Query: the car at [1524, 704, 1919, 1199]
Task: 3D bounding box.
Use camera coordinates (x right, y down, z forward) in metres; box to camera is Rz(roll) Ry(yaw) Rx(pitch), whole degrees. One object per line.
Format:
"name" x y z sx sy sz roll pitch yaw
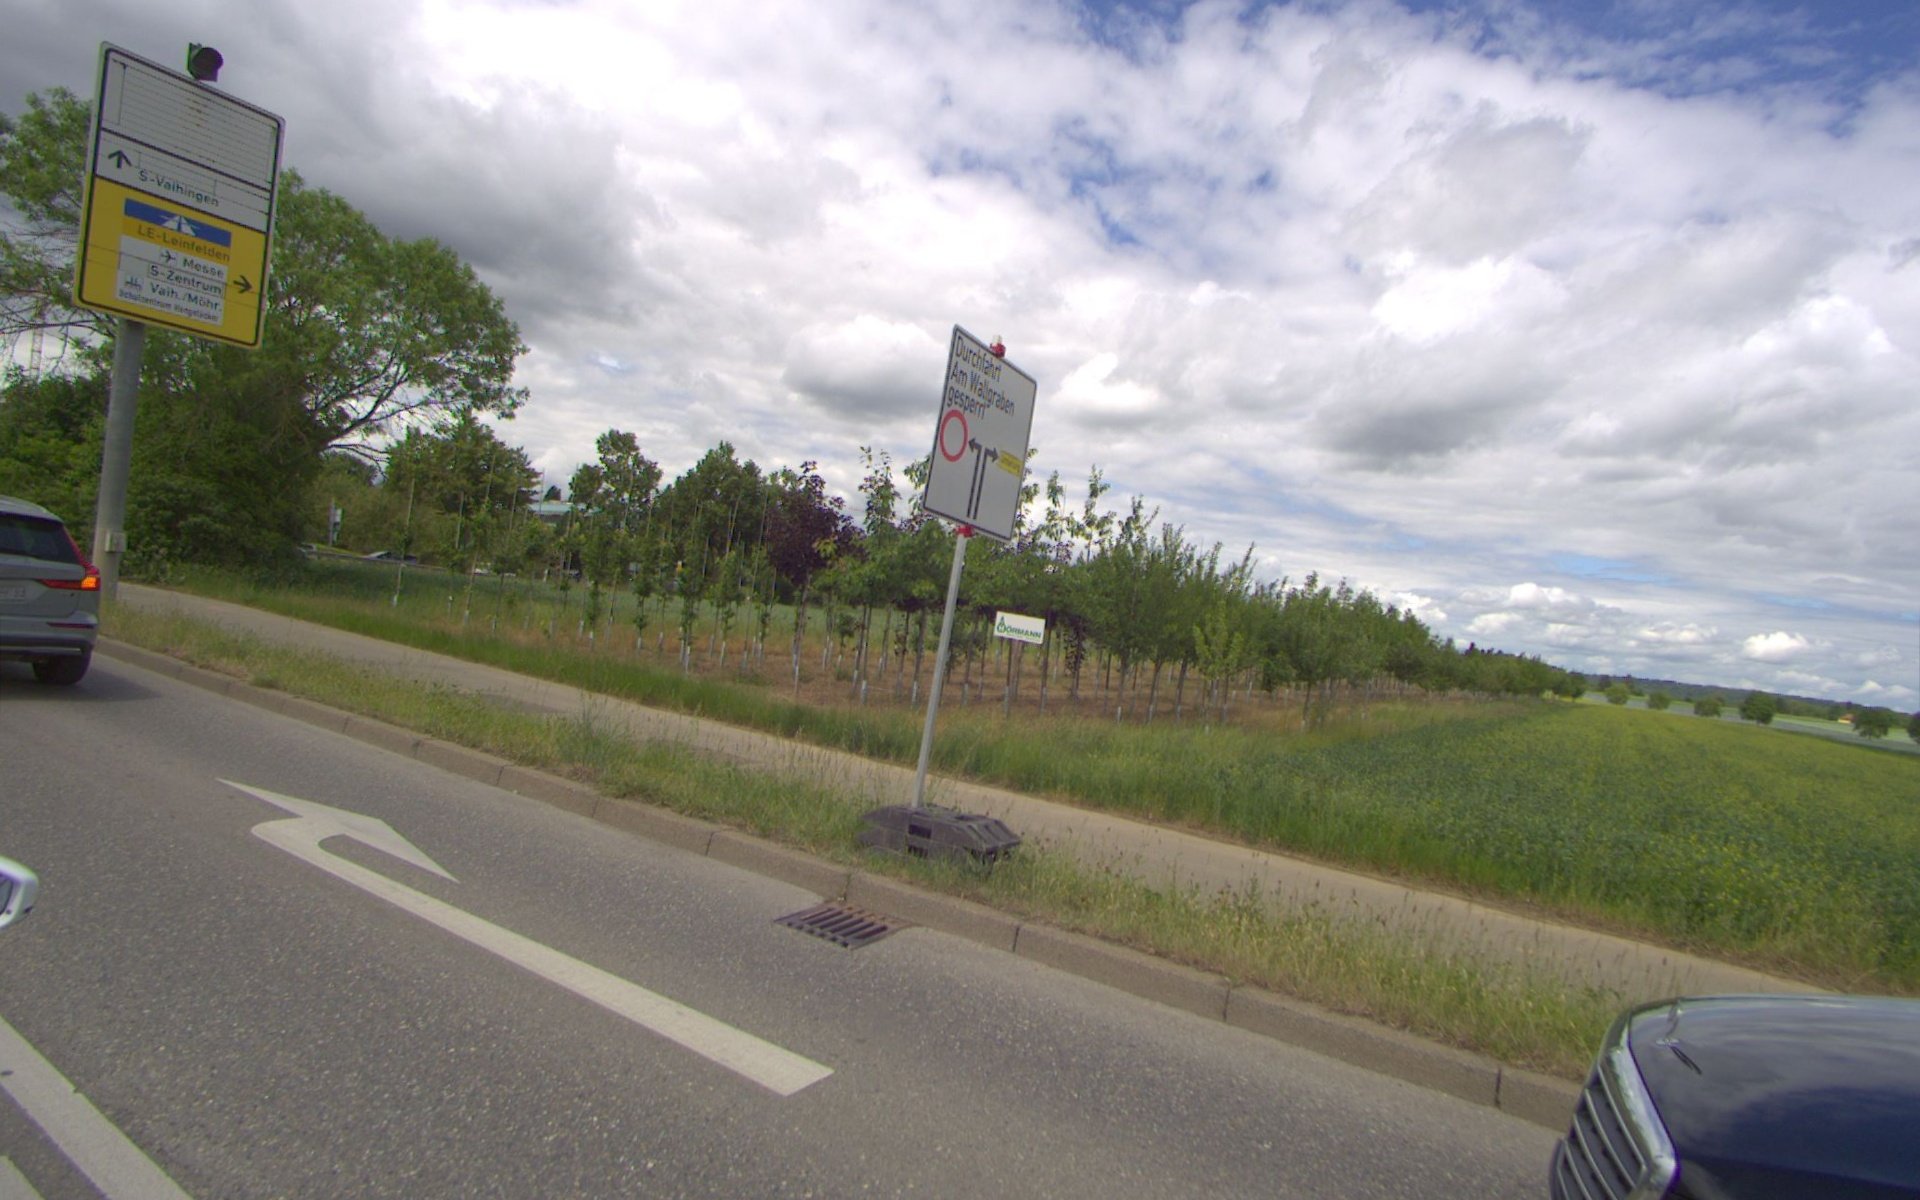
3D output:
"car" 3.507 1.242 0.900 5.112 1.458 1.875 7 0 30

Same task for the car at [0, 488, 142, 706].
"car" -8.735 -0.250 8.144 4.372 1.537 1.865 7 0 32
